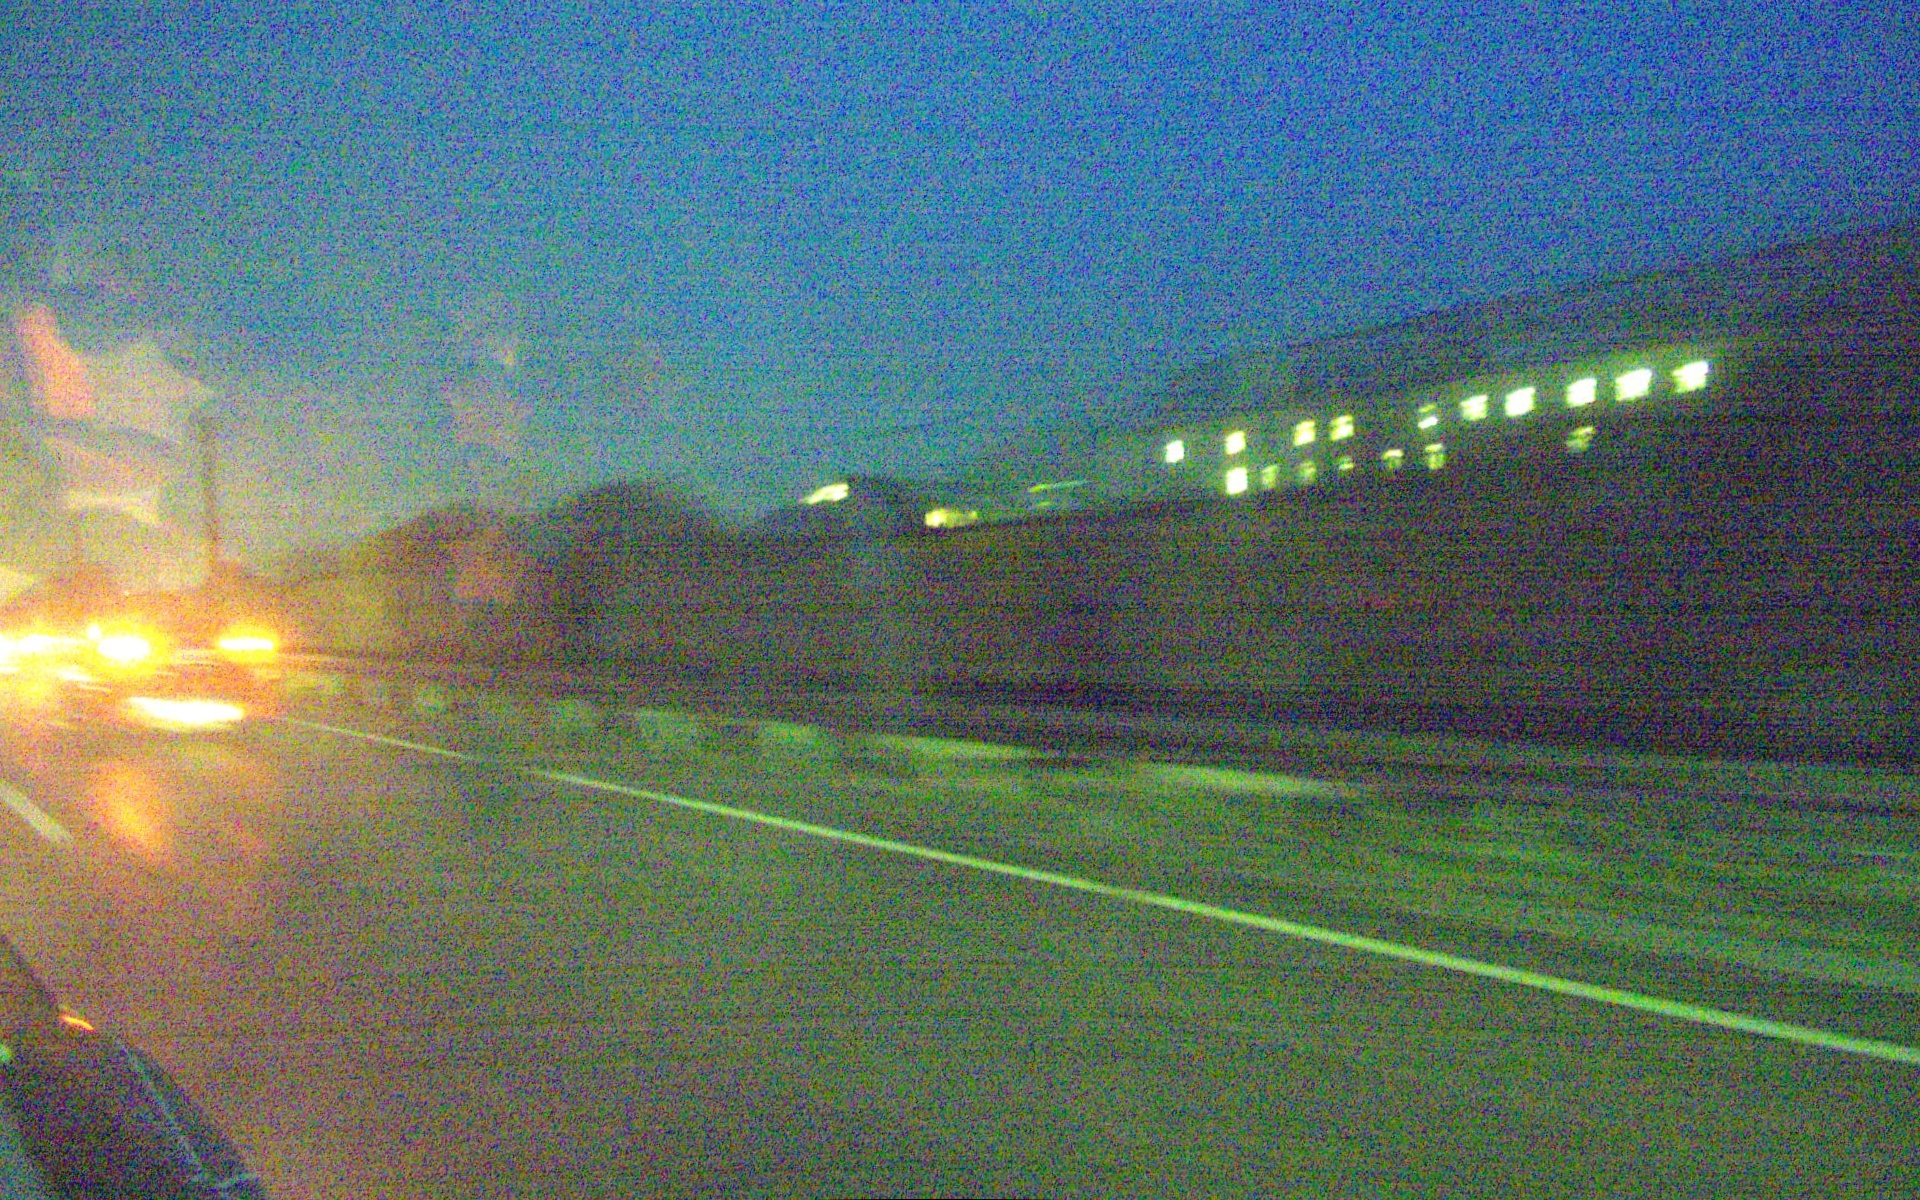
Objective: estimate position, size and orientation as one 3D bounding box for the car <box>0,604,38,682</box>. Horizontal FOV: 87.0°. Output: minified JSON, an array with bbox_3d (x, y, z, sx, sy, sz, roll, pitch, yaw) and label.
[{"bbox_3d":[-24.841,1.076,25.673,4.429,1.885,1.812,-1,-1,43],"label":"car"}]

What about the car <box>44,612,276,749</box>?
[{"bbox_3d":[-10.157,0.914,12.786,3.423,1.467,1.648,-1,-1,40],"label":"car"}]
